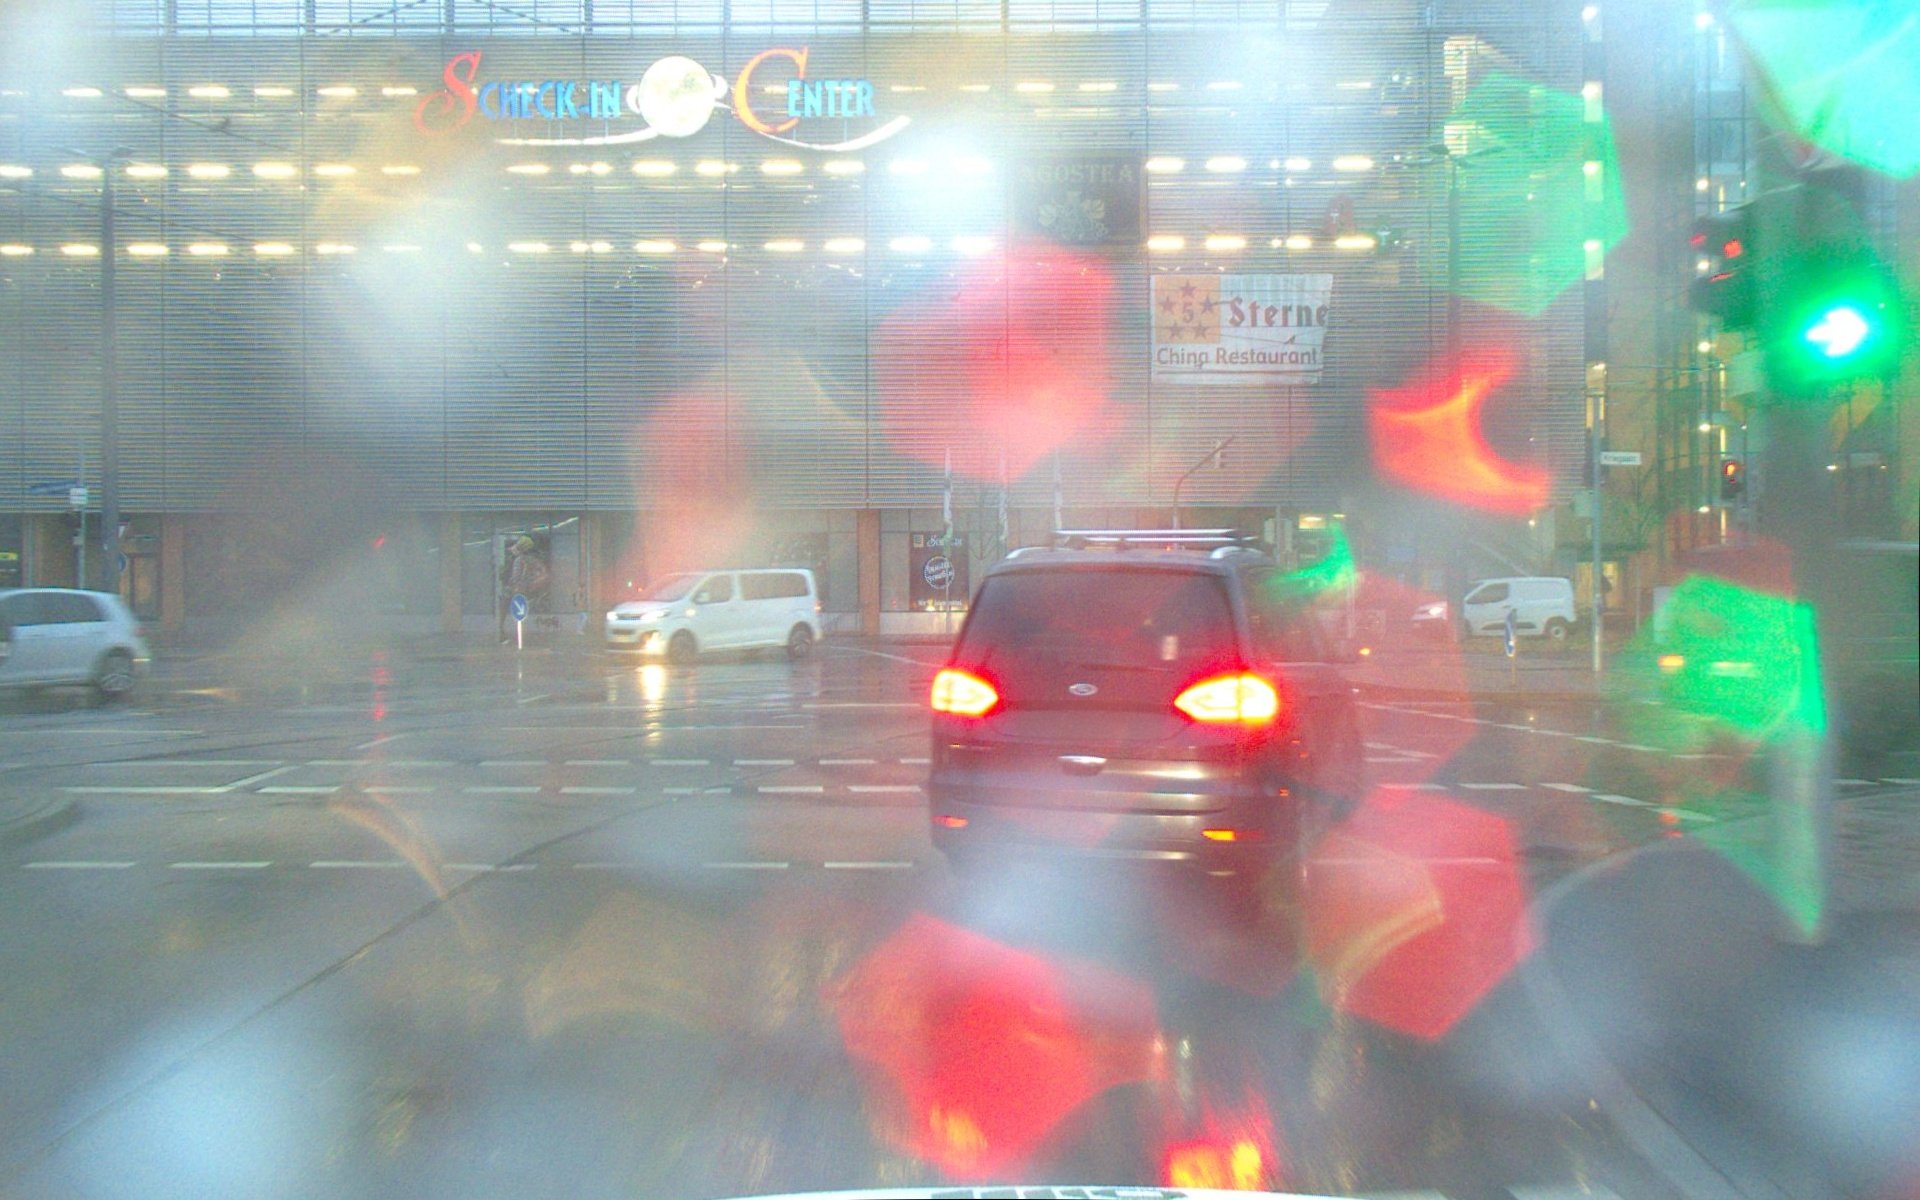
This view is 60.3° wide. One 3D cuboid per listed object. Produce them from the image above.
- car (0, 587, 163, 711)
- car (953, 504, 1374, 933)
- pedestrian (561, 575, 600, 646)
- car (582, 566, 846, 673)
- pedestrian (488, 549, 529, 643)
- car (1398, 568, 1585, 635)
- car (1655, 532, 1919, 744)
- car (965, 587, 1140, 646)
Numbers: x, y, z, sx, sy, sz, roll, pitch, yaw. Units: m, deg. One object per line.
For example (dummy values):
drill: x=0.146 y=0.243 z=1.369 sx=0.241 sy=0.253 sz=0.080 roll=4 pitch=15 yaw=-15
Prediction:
car: x=-12.513 y=0.607 z=20.880 sx=1.822 sy=1.512 sz=4.341 roll=-1 pitch=0 yaw=22
car: x=1.344 y=0.501 z=9.187 sx=1.638 sy=1.811 sz=4.002 roll=1 pitch=0 yaw=17
pedestrian: x=-13.361 y=0.365 z=58.310 sx=1.087 sy=2.482 sz=0.966 roll=1 pitch=-1 yaw=2
car: x=-5.132 y=0.369 z=35.226 sx=1.919 sy=2.095 sz=5.625 roll=-1 pitch=0 yaw=43
pedestrian: x=-14.505 y=-0.128 z=53.182 sx=0.943 sy=2.976 sz=1.114 roll=1 pitch=-1 yaw=2
car: x=14.493 y=0.036 z=45.281 sx=4.501 sy=1.749 sz=1.929 roll=0 pitch=0 yaw=-1
car: x=9.104 y=0.308 z=16.155 sx=4.416 sy=1.837 sz=1.834 roll=0 pitch=0 yaw=-26
car: x=2.428 y=0.416 z=43.336 sx=4.353 sy=1.470 sz=1.616 roll=-1 pitch=0 yaw=-25
